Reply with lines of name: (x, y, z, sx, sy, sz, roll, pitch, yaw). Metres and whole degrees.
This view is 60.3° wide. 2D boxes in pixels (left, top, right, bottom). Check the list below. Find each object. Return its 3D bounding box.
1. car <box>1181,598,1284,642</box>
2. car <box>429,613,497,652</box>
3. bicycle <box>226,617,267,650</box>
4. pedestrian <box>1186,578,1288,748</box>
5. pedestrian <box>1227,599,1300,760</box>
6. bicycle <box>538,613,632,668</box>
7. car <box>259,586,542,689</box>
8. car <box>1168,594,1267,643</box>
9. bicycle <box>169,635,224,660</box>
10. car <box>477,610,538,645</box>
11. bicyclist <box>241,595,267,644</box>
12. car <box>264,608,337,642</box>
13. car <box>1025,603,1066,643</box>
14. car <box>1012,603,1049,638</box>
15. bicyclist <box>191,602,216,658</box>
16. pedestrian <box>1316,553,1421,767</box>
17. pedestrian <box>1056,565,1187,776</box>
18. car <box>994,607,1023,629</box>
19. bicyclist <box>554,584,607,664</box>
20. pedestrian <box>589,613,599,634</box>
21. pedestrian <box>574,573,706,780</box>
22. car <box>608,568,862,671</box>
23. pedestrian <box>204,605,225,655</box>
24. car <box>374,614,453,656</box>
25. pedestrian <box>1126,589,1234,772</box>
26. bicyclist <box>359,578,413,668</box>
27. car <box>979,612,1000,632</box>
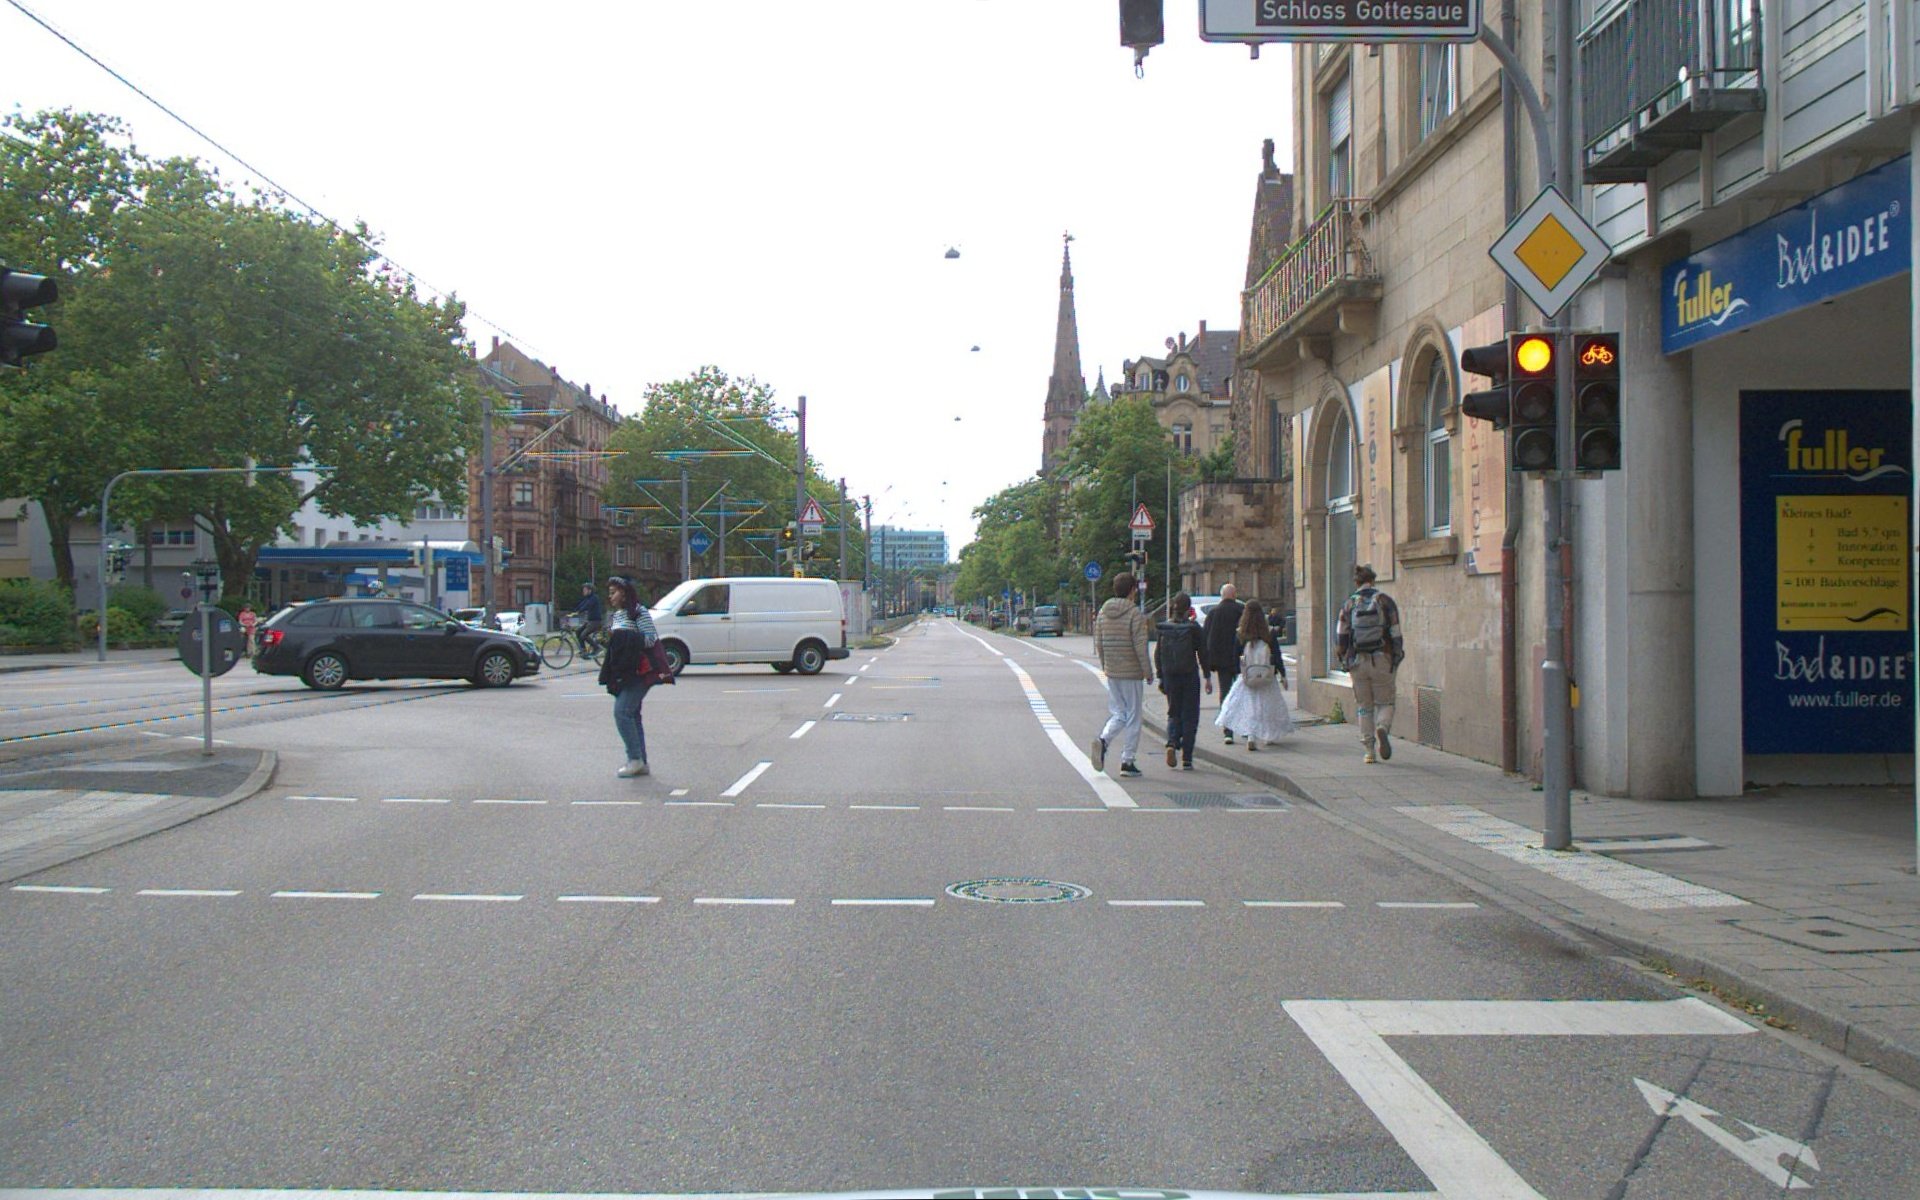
car: (10.685, 0.793, 65.061, 3.721, 1.629, 2.000, 1, -1, -1)
car: (-21.583, 1.396, 71.977, 1.856, 1.585, 3.835, 1, -1, -1)
bicycle: (-23.616, 1.098, 54.760, 0.511, 1.035, 1.936, 1, -1, -1)
pedestrian: (3.062, 0.679, 18.263, 0.900, 1.815, 0.645, 0, -1, 37)
pedestrian: (3.159, 0.811, 17.276, 0.685, 1.621, 0.831, 1, -1, 7)
bicycle: (-8.230, 0.890, 36.312, 1.910, 1.155, 0.731, 1, -1, -22)
car: (-9.342, 0.630, 27.644, 4.274, 1.614, 1.796, 1, -1, -27)
car: (10.637, 0.747, 68.471, 3.721, 1.937, 2.000, 1, -1, -1)
bicycle: (-24.930, 1.549, 53.994, 1.645, 0.786, 0.656, 1, -1, 20)
car: (-21.538, 1.281, 78.812, 1.856, 1.585, 3.835, 1, -1, -1)
bicyclist: (-23.465, 0.651, 54.961, 0.576, 1.595, 0.618, 1, -1, -1)
car: (-31.855, 1.178, 79.982, 1.953, 1.557, 3.999, 1, -1, -1)
car: (4.643, 1.244, 90.185, 1.953, 2.049, 3.999, 1, -1, -1)
car: (4.216, 1.246, 99.720, 1.953, 2.049, 3.999, 1, -1, -1)
bicyclist: (-24.699, 0.968, 54.009, 0.522, 1.815, 0.470, 1, -1, 19)
pedestrian: (3.635, 0.517, 14.667, 0.614, 1.809, 1.133, -3, -1, 24)
pedestrian: (1.455, 0.627, 14.921, 0.998, 1.845, 0.580, 1, -1, -24)
car: (3.757, 1.395, 128.524, 1.953, 1.635, 4.163, -2, 0, -1)
bicyclist: (-8.331, 0.523, 36.279, 1.023, 1.713, 0.641, 1, -1, -21)
pedestrian: (-26.210, 1.663, 118.374, 0.444, 1.486, 0.522, 0, -1, 41)
pedestrian: (-2.741, 0.634, 14.196, 0.659, 1.709, 0.864, 0, -1, 38)
car: (-4.615, 0.425, 34.061, 4.805, 2.001, 1.972, 1, -1, -27)
pedestrian: (-27.060, 1.097, 60.053, 0.366, 1.815, 0.552, 1, -1, 23)
car: (-21.429, 1.342, 65.001, 1.856, 1.585, 3.835, 1, -1, -1)
pedestrian: (2.117, 0.749, 15.860, 0.616, 1.681, 0.993, 0, -1, 36)
bicyclist: (-11.898, 0.477, 34.265, 0.955, 1.851, 0.527, 1, -1, -30)
car: (3.055, 2.320, 172.307, 1.953, 2.049, 3.999, 1, -1, -1)
